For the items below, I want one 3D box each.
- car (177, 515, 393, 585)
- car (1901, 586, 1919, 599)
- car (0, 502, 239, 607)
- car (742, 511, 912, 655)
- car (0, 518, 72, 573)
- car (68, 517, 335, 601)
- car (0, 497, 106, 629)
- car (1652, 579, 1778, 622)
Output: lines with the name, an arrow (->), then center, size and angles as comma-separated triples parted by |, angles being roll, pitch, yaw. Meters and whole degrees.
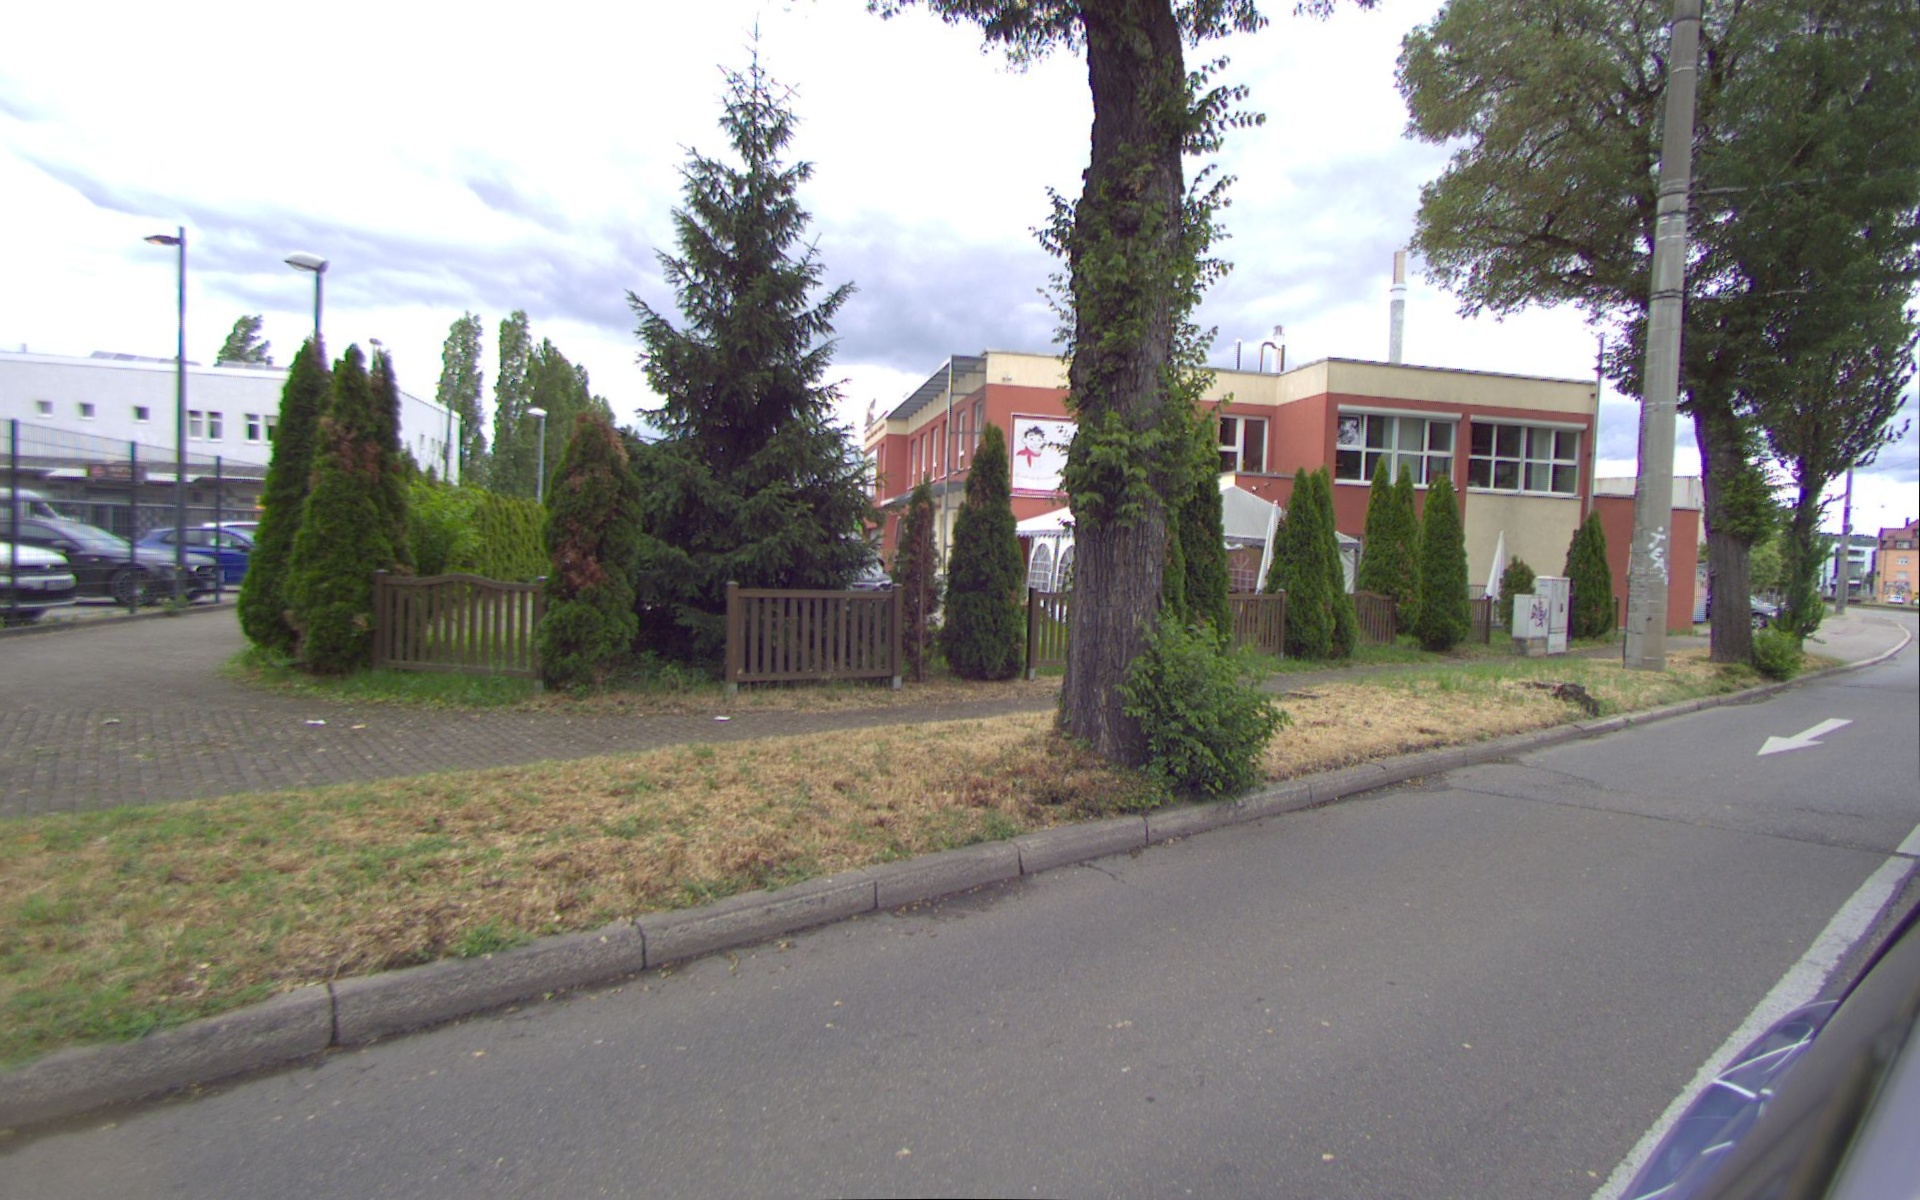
car -> -17.971, -1.316, 27.198 | 4.407, 1.686, 2.005 | 1, 2, -14
car -> 157.292, -1.216, 167.604 | 1.992, 2.039, 3.940 | 0, 0, 42
car -> -15.553, -0.805, 17.658 | 4.407, 1.686, 2.005 | 1, 2, -14
car -> -2.298, -0.262, 16.475 | 1.958, 2.039, 4.008 | 0, 0, -19
car -> -31.222, -1.713, 32.074 | 4.181, 1.670, 2.004 | 0, 0, -17
car -> -17.015, -0.919, 22.964 | 4.407, 1.686, 2.005 | 1, 2, -14
car -> -14.429, -0.554, 13.352 | 4.407, 1.686, 2.005 | 1, 2, -14
car -> 30.966, 0.013, 41.559 | 3.986, 1.666, 1.867 | 0, 0, 43
